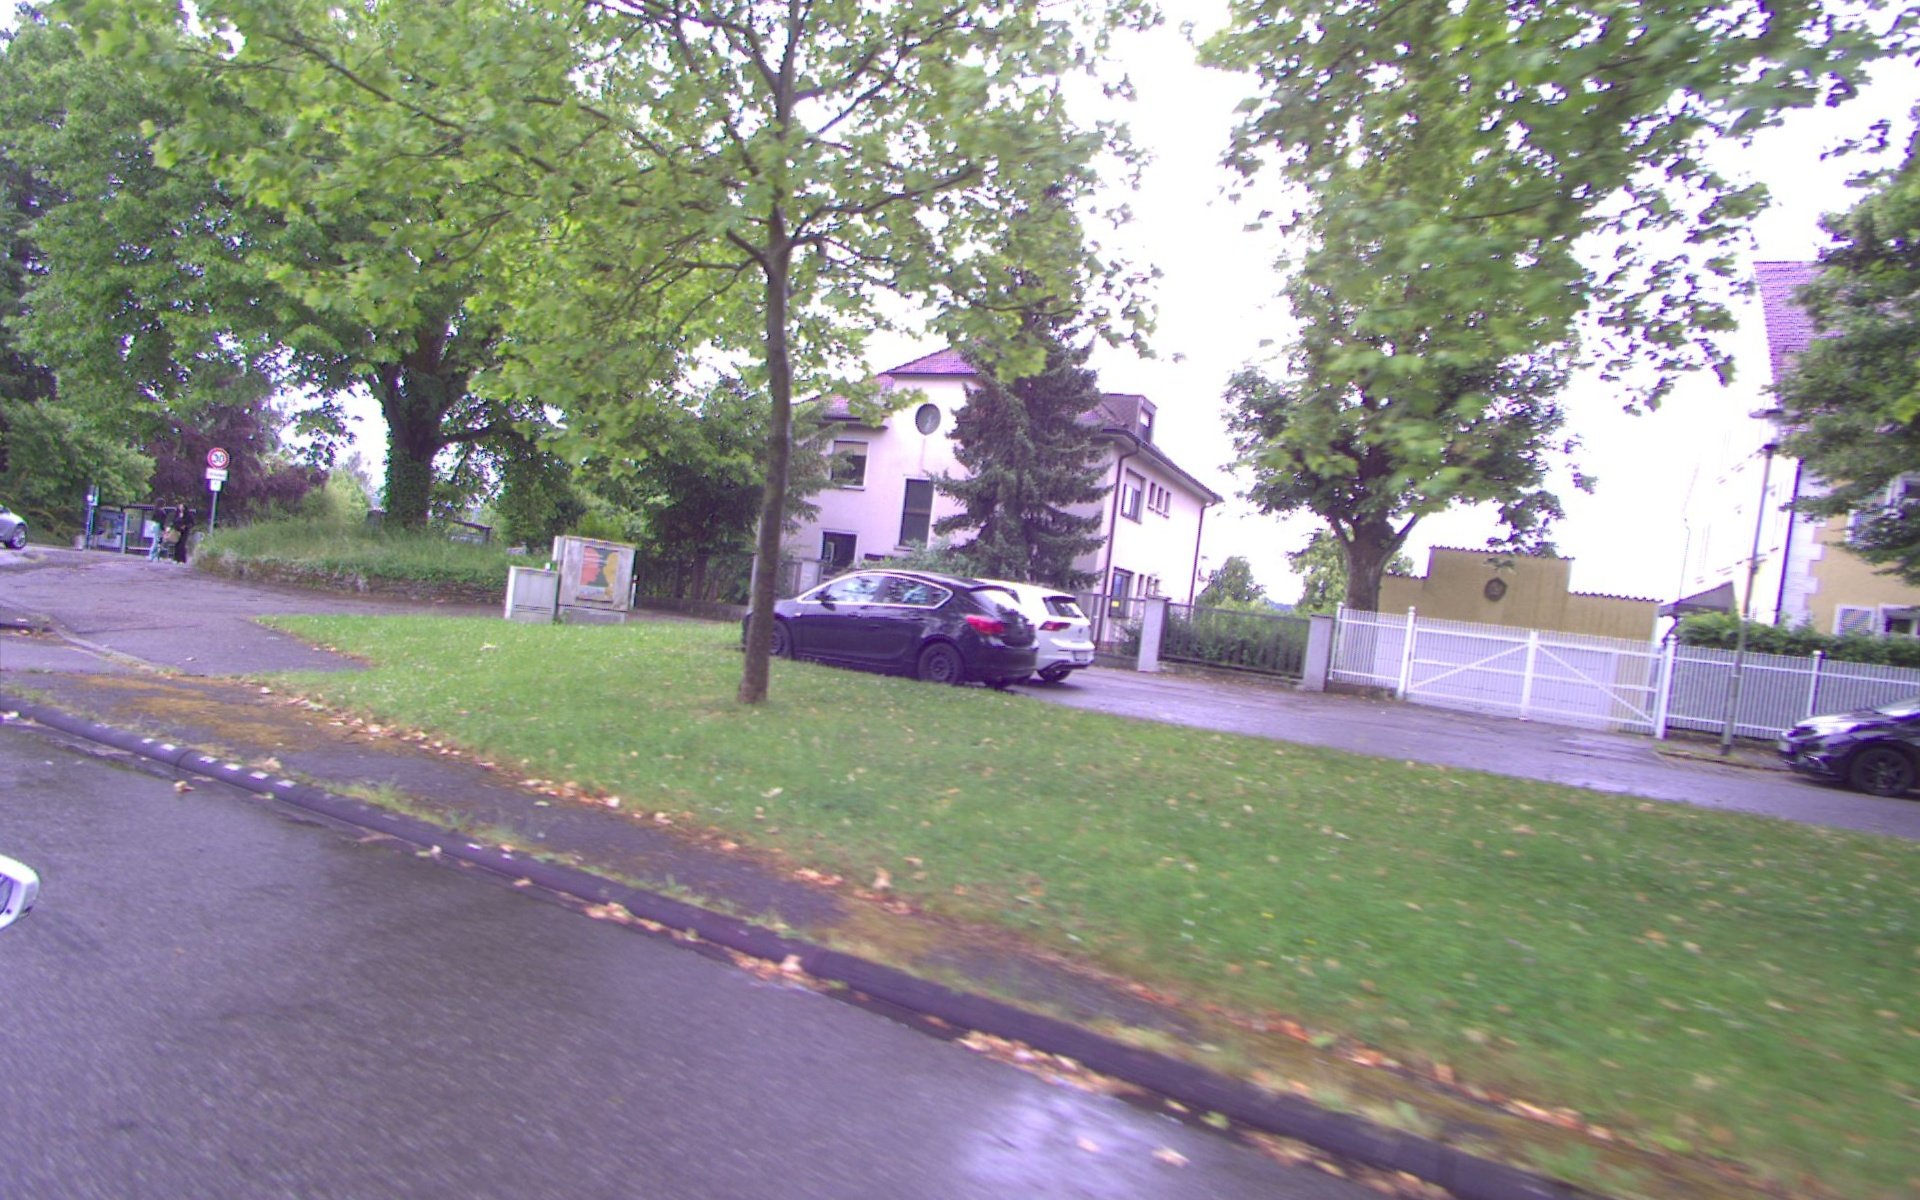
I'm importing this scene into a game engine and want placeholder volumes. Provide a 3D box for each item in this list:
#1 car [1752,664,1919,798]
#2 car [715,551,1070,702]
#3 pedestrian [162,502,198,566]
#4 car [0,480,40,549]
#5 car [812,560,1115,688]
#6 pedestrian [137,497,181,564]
[{"bbox_3d":[12.905,1.842,12.601,4.280,1.487,1.766,6,-3,27],"label":"car"},{"bbox_3d":[-0.991,0.285,13.703,4.520,1.490,1.765,6,2,30],"label":"car"},{"bbox_3d":[-22.313,-1.871,28.780,0.632,1.733,0.523,7,-1,-43],"label":"pedestrian"},{"bbox_3d":[-26.515,-2.372,26.435,1.744,1.824,4.229,5,1,-18],"label":"car"},{"bbox_3d":[0.018,0.340,15.963,4.350,1.490,1.847,6,1,29],"label":"car"},{"bbox_3d":[-22.129,-1.911,27.803,0.624,1.733,0.530,6,-1,16],"label":"pedestrian"}]
